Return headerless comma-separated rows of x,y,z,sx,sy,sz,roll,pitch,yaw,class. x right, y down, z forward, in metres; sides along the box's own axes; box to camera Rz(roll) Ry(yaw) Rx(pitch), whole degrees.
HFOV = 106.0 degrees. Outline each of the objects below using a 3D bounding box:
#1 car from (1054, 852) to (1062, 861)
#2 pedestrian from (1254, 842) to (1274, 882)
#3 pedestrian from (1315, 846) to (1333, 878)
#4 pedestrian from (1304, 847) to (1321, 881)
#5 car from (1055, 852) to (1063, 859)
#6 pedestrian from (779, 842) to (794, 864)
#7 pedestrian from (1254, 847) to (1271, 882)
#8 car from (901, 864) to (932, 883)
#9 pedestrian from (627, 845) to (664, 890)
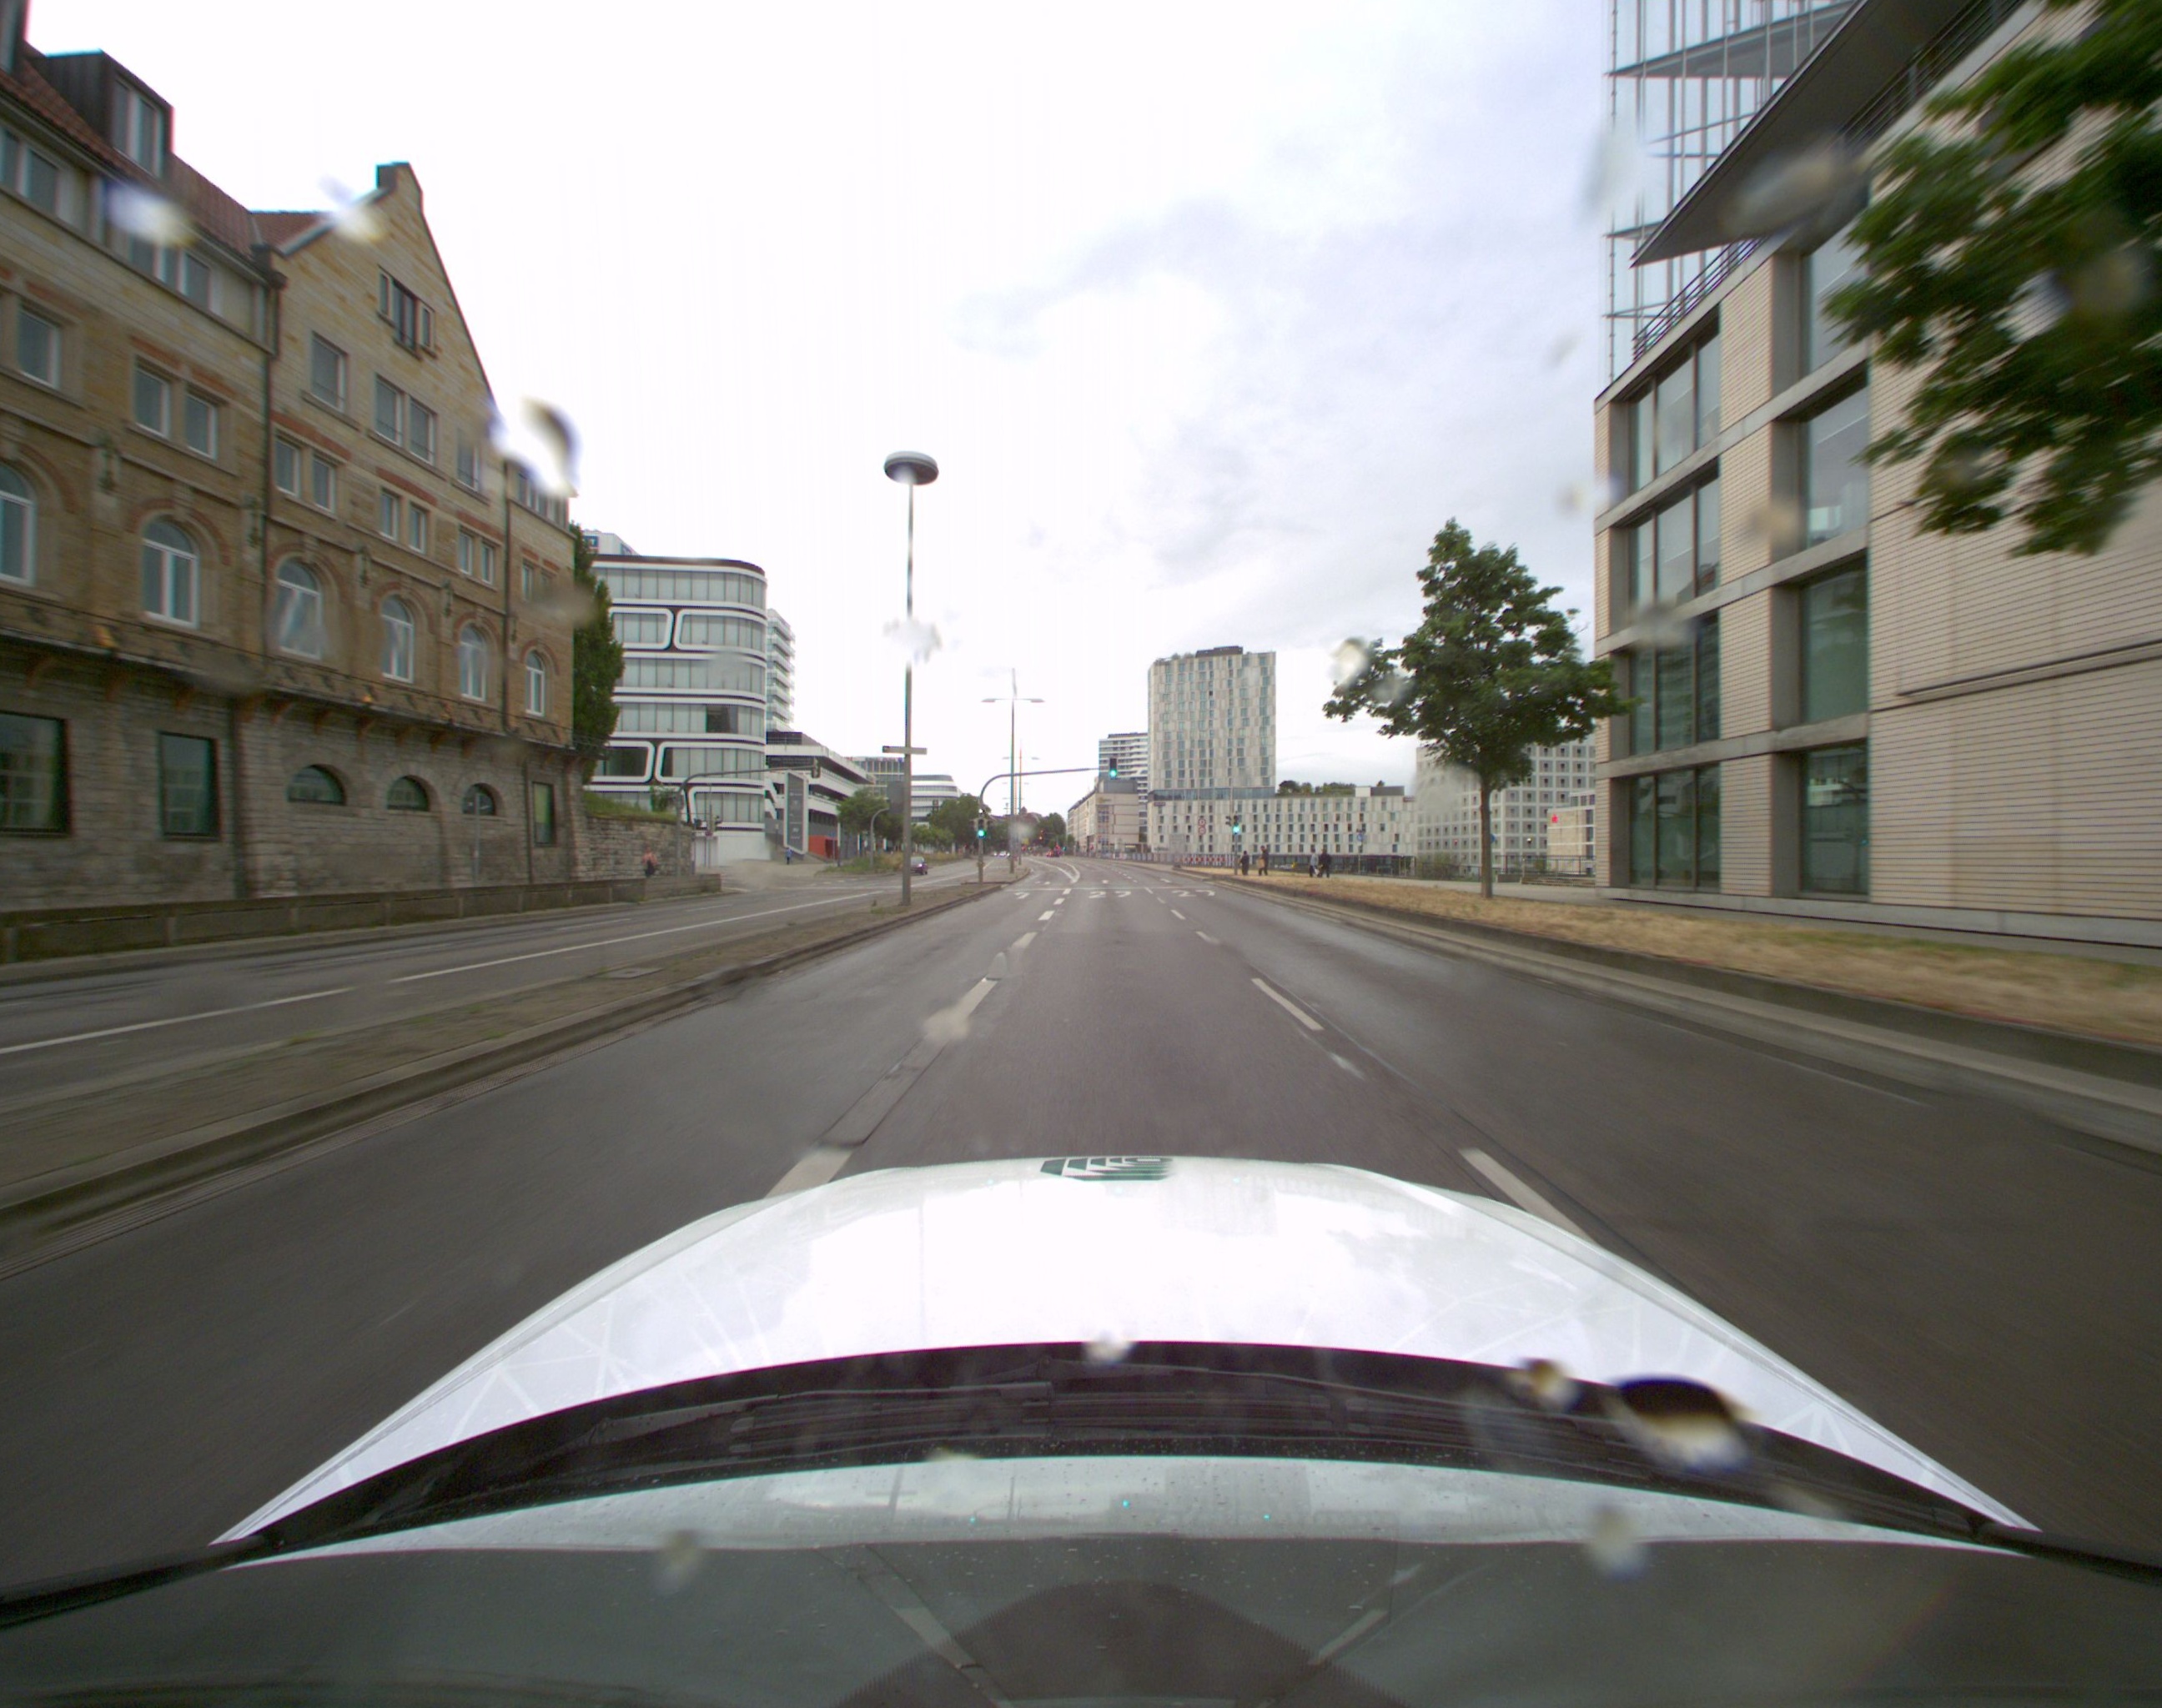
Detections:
-6.158,0.682,215.420,1.987,2.343,4.000,-1,0,0,car
8.571,0.349,38.133,0.787,1.841,0.544,-2,2,-43,pedestrian
12.032,0.381,40.344,0.662,1.578,0.673,0,1,39,pedestrian
10.982,0.490,38.607,0.544,1.578,0.675,0,1,35,pedestrian
-6.501,0.524,244.619,1.984,1.815,4.005,-1,1,4,car
-27.343,-0.095,75.572,1.026,2.013,0.716,-1,1,0,pedestrian
8.487,0.482,38.068,0.544,1.578,0.675,0,1,35,pedestrian
-13.550,1.582,67.419,1.742,1.407,3.725,-1,0,0,car
-18.426,0.550,34.470,0.872,1.867,1.068,0,1,35,pedestrian
